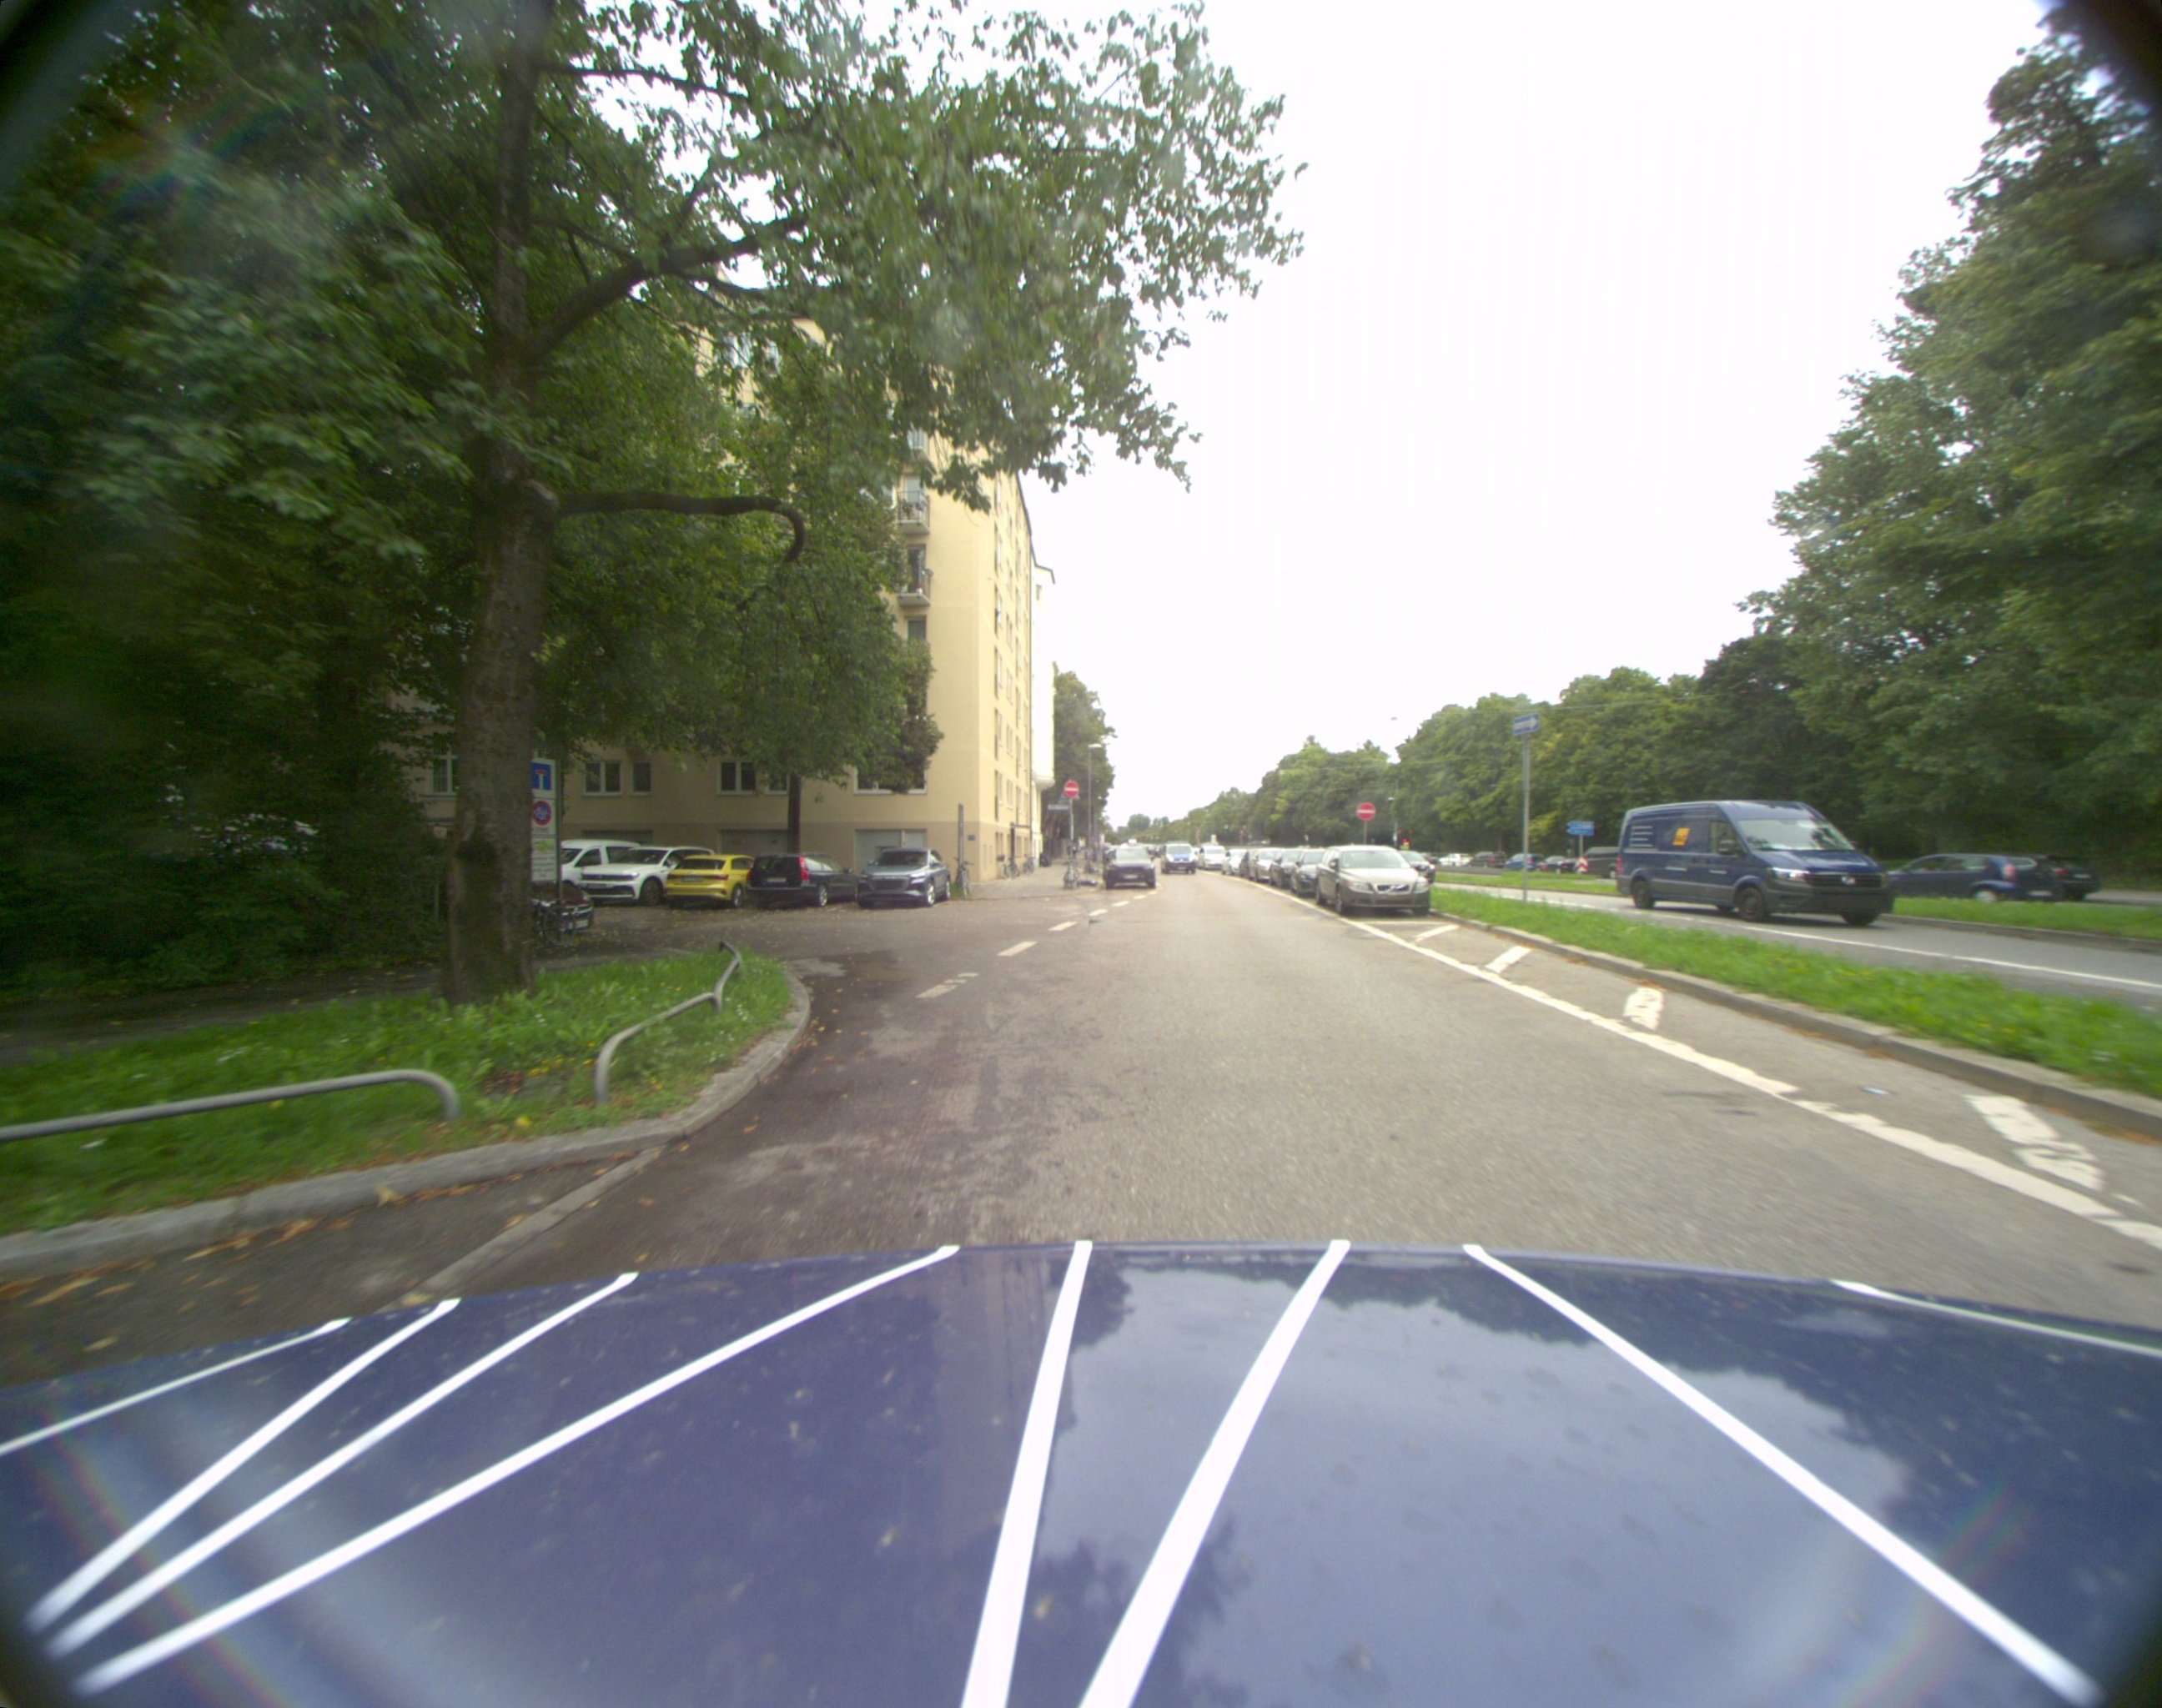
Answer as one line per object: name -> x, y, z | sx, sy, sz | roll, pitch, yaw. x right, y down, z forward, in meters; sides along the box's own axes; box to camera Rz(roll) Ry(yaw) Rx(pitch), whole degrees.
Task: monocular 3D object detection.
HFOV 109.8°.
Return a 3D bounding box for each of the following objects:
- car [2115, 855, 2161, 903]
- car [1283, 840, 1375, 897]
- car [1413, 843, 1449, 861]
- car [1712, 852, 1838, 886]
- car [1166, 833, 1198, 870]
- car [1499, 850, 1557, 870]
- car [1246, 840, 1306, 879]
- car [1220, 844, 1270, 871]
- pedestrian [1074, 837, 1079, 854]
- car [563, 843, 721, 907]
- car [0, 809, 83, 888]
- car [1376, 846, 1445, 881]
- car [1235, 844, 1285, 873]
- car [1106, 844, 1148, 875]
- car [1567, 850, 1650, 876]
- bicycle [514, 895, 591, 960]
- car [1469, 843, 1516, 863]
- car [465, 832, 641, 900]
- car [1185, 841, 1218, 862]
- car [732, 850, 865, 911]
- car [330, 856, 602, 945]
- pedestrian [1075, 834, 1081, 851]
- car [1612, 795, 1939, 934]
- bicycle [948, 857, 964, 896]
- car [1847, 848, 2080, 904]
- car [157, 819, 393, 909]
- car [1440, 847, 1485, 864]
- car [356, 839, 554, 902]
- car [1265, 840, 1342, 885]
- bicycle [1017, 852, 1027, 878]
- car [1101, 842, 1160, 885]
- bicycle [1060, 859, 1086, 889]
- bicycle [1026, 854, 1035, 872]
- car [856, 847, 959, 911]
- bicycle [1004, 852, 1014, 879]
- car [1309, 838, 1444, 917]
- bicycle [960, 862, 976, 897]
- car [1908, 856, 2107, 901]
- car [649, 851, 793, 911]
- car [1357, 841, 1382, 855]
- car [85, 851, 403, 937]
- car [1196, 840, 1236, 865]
car -> 33.579, 0.785, 21.663 | 1.999, 1.438, 4.524 | 1, 1, 0
car -> 7.402, 0.359, 23.097 | 1.991, 1.556, 4.285 | 0, 1, 9
car -> 35.383, -0.211, 76.879 | 1.998, 1.736, 4.000 | 0, 1, 3
car -> 33.618, 0.676, 37.012 | 1.999, 1.438, 4.524 | 1, 1, 0
car -> 6.444, -0.212, 49.023 | 1.856, 2.198, 4.553 | 0, 2, 5
car -> 35.018, 0.425, 59.655 | 1.999, 1.438, 4.317 | 1, 1, -1
car -> 8.404, 0.193, 33.077 | 1.991, 1.556, 4.284 | 0, 1, 7
car -> 9.403, 0.169, 43.926 | 1.992, 1.447, 4.282 | 0, 1, 1
pedestrian -> -0.531, -0.982, 88.341 | 0.458, 2.002, 0.618 | 0, 1, -14
car -> -12.089, 0.496, 21.316 | 1.917, 1.611, 4.244 | 0, 1, 1
car -> -33.955, -0.160, 22.843 | 1.973, 2.398, 4.700 | 1, 2, 37
car -> 16.499, 0.427, 38.256 | 1.991, 1.618, 4.274 | 0, 1, 6
car -> 9.150, 0.200, 39.173 | 1.766, 1.362, 4.283 | 0, 1, 3
car -> 2.484, 0.252, 41.838 | 2.129, 1.556, 4.507 | -1, 1, 3
car -> 33.470, 0.539, 48.382 | 1.999, 1.526, 4.705 | 1, 1, 0
bicycle -> -8.103, 1.114, 11.683 | 0.249, 0.875, 1.080 | 0, 1, 12
car -> 35.026, -0.120, 64.818 | 1.911, 1.549, 3.999 | 0, 2, 3
car -> -14.701, 0.267, 21.505 | 1.916, 1.741, 4.245 | 0, 1, 1
car -> 9.942, -0.209, 63.022 | 2.074, 1.692, 4.559 | 0, 1, 1
car -> -7.681, 0.646, 21.136 | 2.053, 1.459, 4.244 | 0, 1, 1
car -> -11.213, 0.806, 14.022 | 3.704, 1.488, 1.734 | 0, 1, 5
pedestrian -> -0.349, -1.301, 87.705 | 0.458, 2.002, 0.618 | 0, 1, -14
car -> 14.315, 0.096, 16.387 | 2.188, 2.450, 5.853 | 0, 2, 7
bicycle -> -3.998, 0.708, 24.406 | 0.282, 1.224, 1.238 | 0, 1, 2
car -> 25.047, 0.550, 21.823 | 1.897, 1.438, 4.031 | 0, 1, -4
car -> -22.742, 0.213, 21.657 | 1.899, 2.300, 4.187 | 0, 1, 26
car -> 35.301, 0.092, 70.469 | 1.999, 1.438, 4.317 | 1, 1, -1
car -> -17.237, 0.370, 21.254 | 1.916, 1.590, 4.245 | 0, 1, 1
car -> 8.134, 0.256, 28.210 | 1.991, 1.556, 4.284 | 0, 1, 6
bicycle -> -2.810, 0.512, 36.250 | 0.401, 1.164, 1.318 | 0, 1, -7
car -> 2.013, 0.334, 30.474 | 2.129, 1.556, 4.508 | -1, 1, 4
bicycle -> -0.281, 0.731, 28.115 | 0.632, 1.032, 1.736 | 1, 1, 9
bicycle -> -2.856, 0.519, 42.993 | 0.463, 0.999, 1.319 | 0, 1, -1
car -> -4.656, 0.595, 21.019 | 1.825, 1.556, 4.244 | 0, 1, 1
bicycle -> -3.285, 0.505, 34.604 | 0.364, 1.164, 1.318 | 0, 1, -7
car -> 6.535, 0.420, 17.390 | 1.902, 1.556, 4.773 | 0, 1, 9
bicycle -> -3.602, 0.811, 24.263 | 0.282, 1.055, 1.238 | 0, 1, 2
car -> 33.959, 0.832, 28.081 | 1.999, 1.438, 4.317 | 1, 1, -1
car -> -9.816, 0.664, 21.143 | 1.917, 1.459, 4.244 | 0, 1, 1
car -> 35.882, -0.788, 94.557 | 1.865, 1.736, 4.000 | 0, 1, 3
car -> -15.508, 0.697, 14.241 | 4.043, 1.488, 1.733 | 0, 1, 1
car -> 9.666, -0.130, 54.898 | 2.074, 1.693, 5.089 | 0, 1, 1
